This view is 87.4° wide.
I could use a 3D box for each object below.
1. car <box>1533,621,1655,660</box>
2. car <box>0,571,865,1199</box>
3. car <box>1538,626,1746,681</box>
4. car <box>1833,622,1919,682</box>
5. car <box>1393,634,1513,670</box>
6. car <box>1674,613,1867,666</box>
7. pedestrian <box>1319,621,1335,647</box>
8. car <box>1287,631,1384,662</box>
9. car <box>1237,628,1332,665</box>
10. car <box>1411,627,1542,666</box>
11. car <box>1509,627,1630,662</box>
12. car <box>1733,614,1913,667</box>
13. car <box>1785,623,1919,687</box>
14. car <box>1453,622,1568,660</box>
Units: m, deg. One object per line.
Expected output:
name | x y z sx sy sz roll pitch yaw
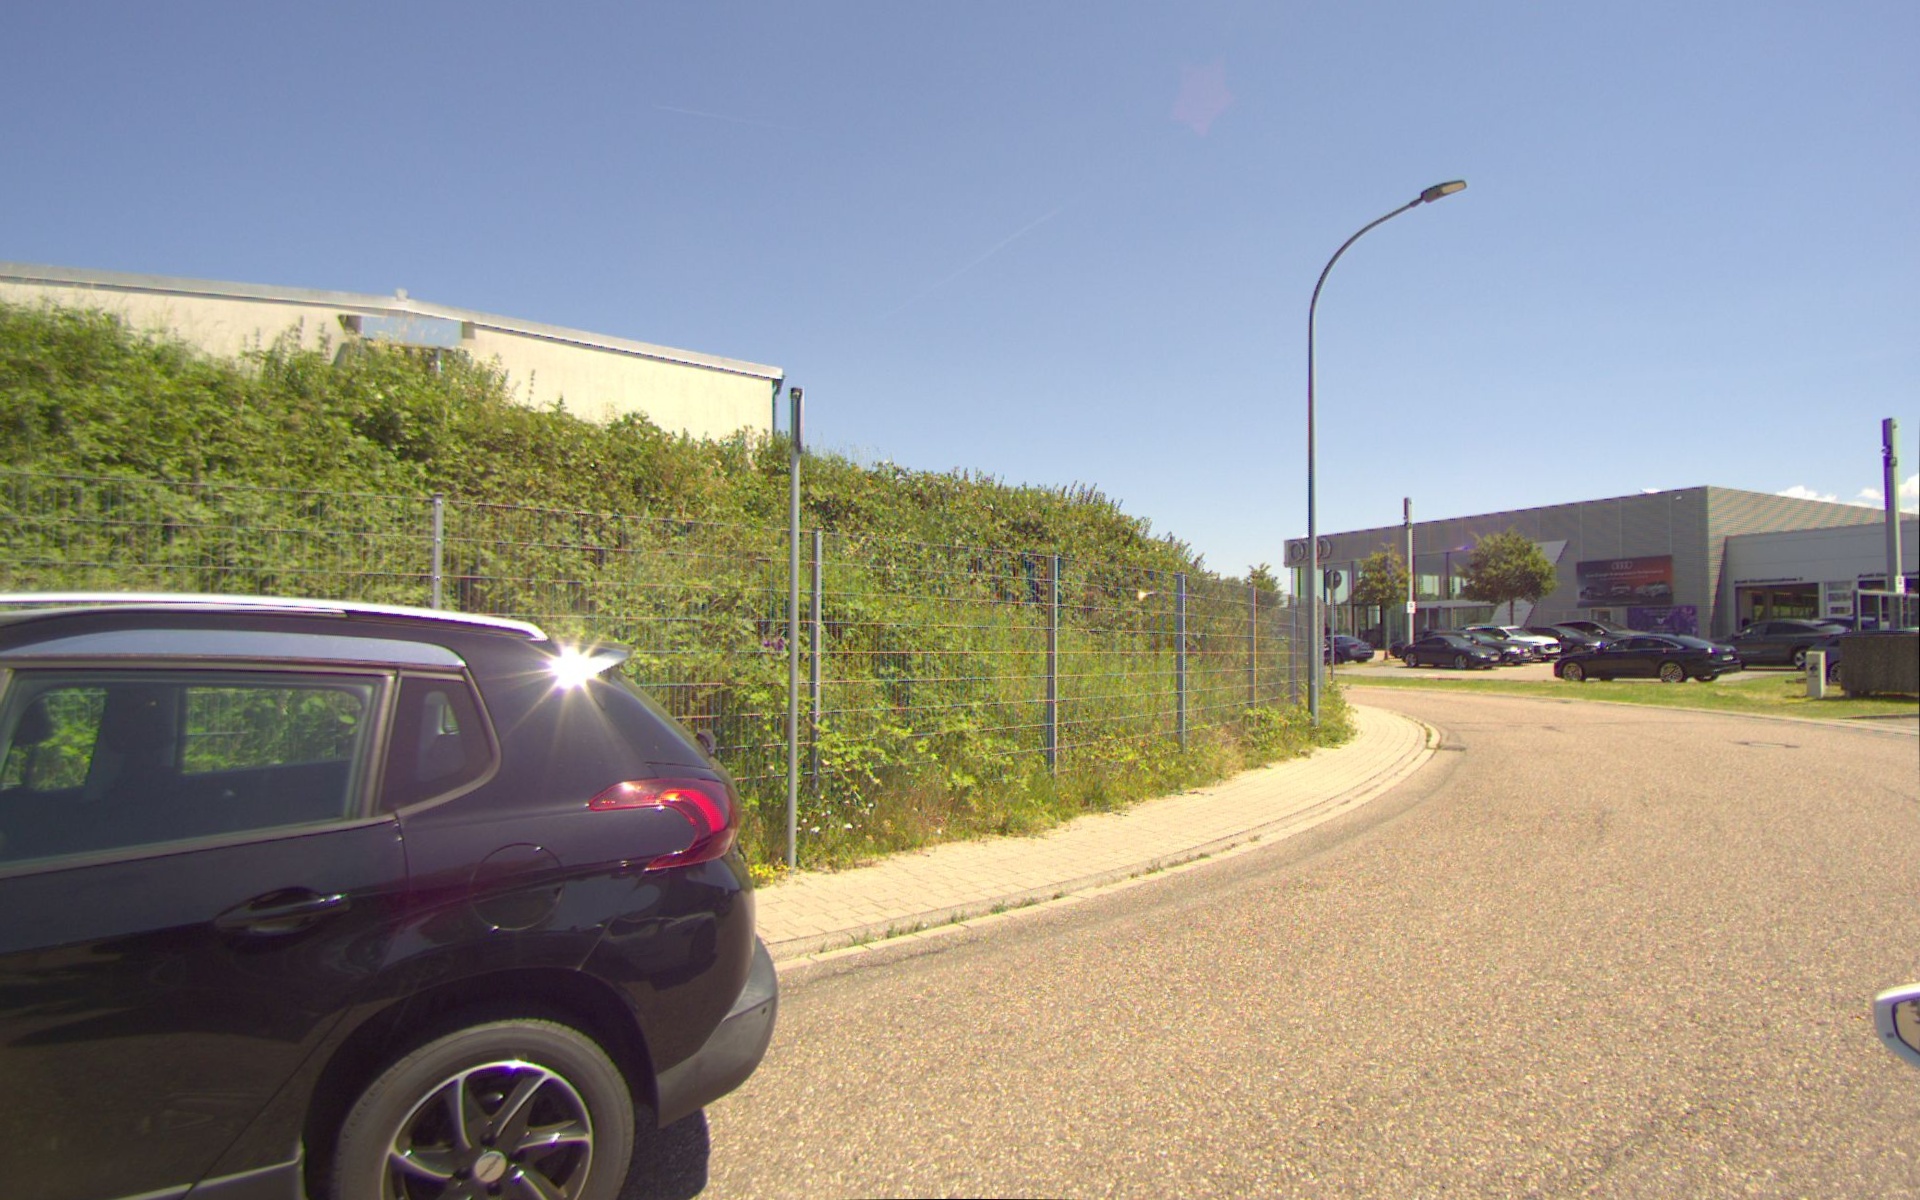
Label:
car | 30.654 1.947 48.742 1.942 1.762 4.698 0 -2 -26
car | -2.423 0.765 2.409 4.077 1.575 1.649 1 -3 -26
car | 20.581 1.586 30.592 1.860 1.474 4.991 -1 -1 -26
car | 25.957 1.323 25.886 1.801 1.548 4.913 0 -2 -26
car | 20.818 2.160 42.577 1.942 1.393 4.283 0 -1 -26
car | 27.297 1.339 34.040 1.806 1.665 4.755 1 -3 -26
pedestrian | 26.148 2.436 71.641 0.761 1.799 0.742 0 -2 -21
car | 18.186 2.243 48.855 1.942 1.384 4.200 -2 -1 -26
car | 15.326 2.187 47.679 1.868 1.592 4.200 -2 -1 -26
car | 22.752 2.029 44.453 1.942 1.573 4.973 0 -2 -26
car | 27.784 2.022 45.952 1.942 1.496 4.344 0 -2 -26
car | 29.793 1.399 34.843 1.806 1.716 4.388 1 -3 -26
car | 23.546 1.324 24.512 1.942 1.487 4.913 0 -2 -26
car | 24.963 1.859 45.694 1.942 1.634 4.261 0 -2 -26
